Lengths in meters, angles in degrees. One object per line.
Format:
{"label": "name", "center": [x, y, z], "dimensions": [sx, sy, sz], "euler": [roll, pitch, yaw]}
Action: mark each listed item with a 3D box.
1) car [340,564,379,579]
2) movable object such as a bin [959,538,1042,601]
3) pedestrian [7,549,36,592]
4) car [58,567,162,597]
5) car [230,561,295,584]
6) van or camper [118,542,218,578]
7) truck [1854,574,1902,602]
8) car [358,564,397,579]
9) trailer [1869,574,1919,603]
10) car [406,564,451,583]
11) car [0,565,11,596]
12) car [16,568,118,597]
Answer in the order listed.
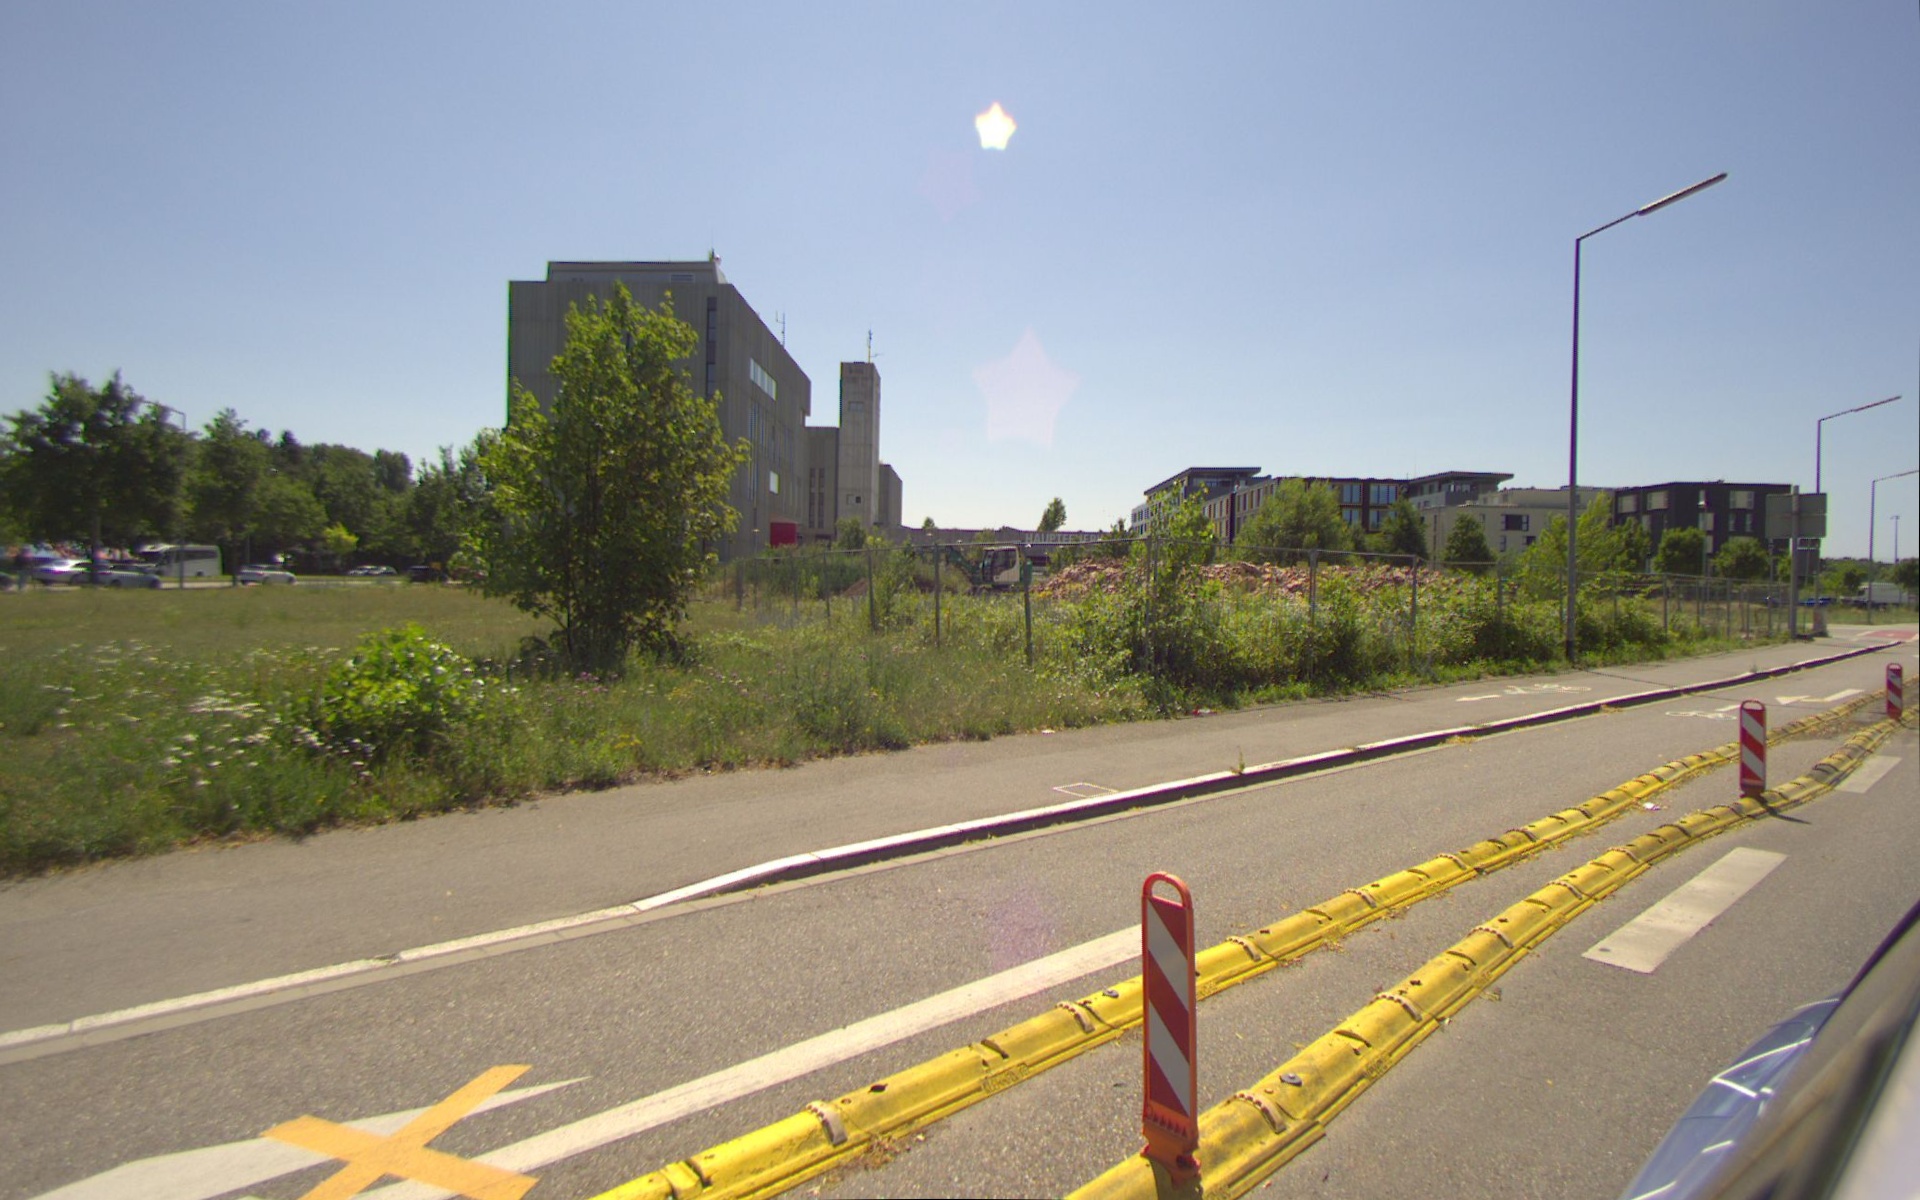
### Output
{"label": "car", "center": [-64.037, -3.004, 107.918], "dimensions": [1.708, 1.571, 3.999], "euler": [0, 1, 1]}
{"label": "movable object such as a bin", "center": [2.063, -1.514, 51.532], "dimensions": [3.619, 3.101, 2.207], "euler": [0, 0, -36]}
{"label": "pedestrian", "center": [-37.741, -1.180, 40.698], "dimensions": [0.489, 1.712, 0.737], "euler": [0, 0, -1]}
{"label": "car", "center": [-45.682, -0.958, 54.509], "dimensions": [1.965, 1.523, 4.069], "euler": [0, 1, 6]}
{"label": "car", "center": [-48.196, -1.873, 70.058], "dimensions": [1.708, 1.571, 3.999], "euler": [0, 1, 1]}
{"label": "van or camper", "center": [-64.238, -3.175, 82.289], "dimensions": [2.464, 2.727, 7.516], "euler": [0, 1, -2]}
{"label": "truck", "center": [112.879, -1.479, 124.465], "dimensions": [3.928, 3.377, 1.998], "euler": [1, 1, 4]}
{"label": "car", "center": [-60.783, -2.962, 105.614], "dimensions": [1.708, 1.571, 3.999], "euler": [0, 1, 1]}
{"label": "trailer", "center": [116.675, -1.367, 124.174], "dimensions": [8.030, 3.390, 1.998], "euler": [1, 1, 4]}
{"label": "car", "center": [-44.935, -2.245, 85.624], "dimensions": [1.708, 1.571, 3.999], "euler": [0, 1, 1]}
{"label": "car", "center": [-48.486, -0.980, 48.549], "dimensions": [1.708, 1.572, 4.405], "euler": [0, 0, 2]}
{"label": "car", "center": [-51.238, -0.999, 58.191], "dimensions": [1.708, 1.571, 4.641], "euler": [0, 1, 1]}
